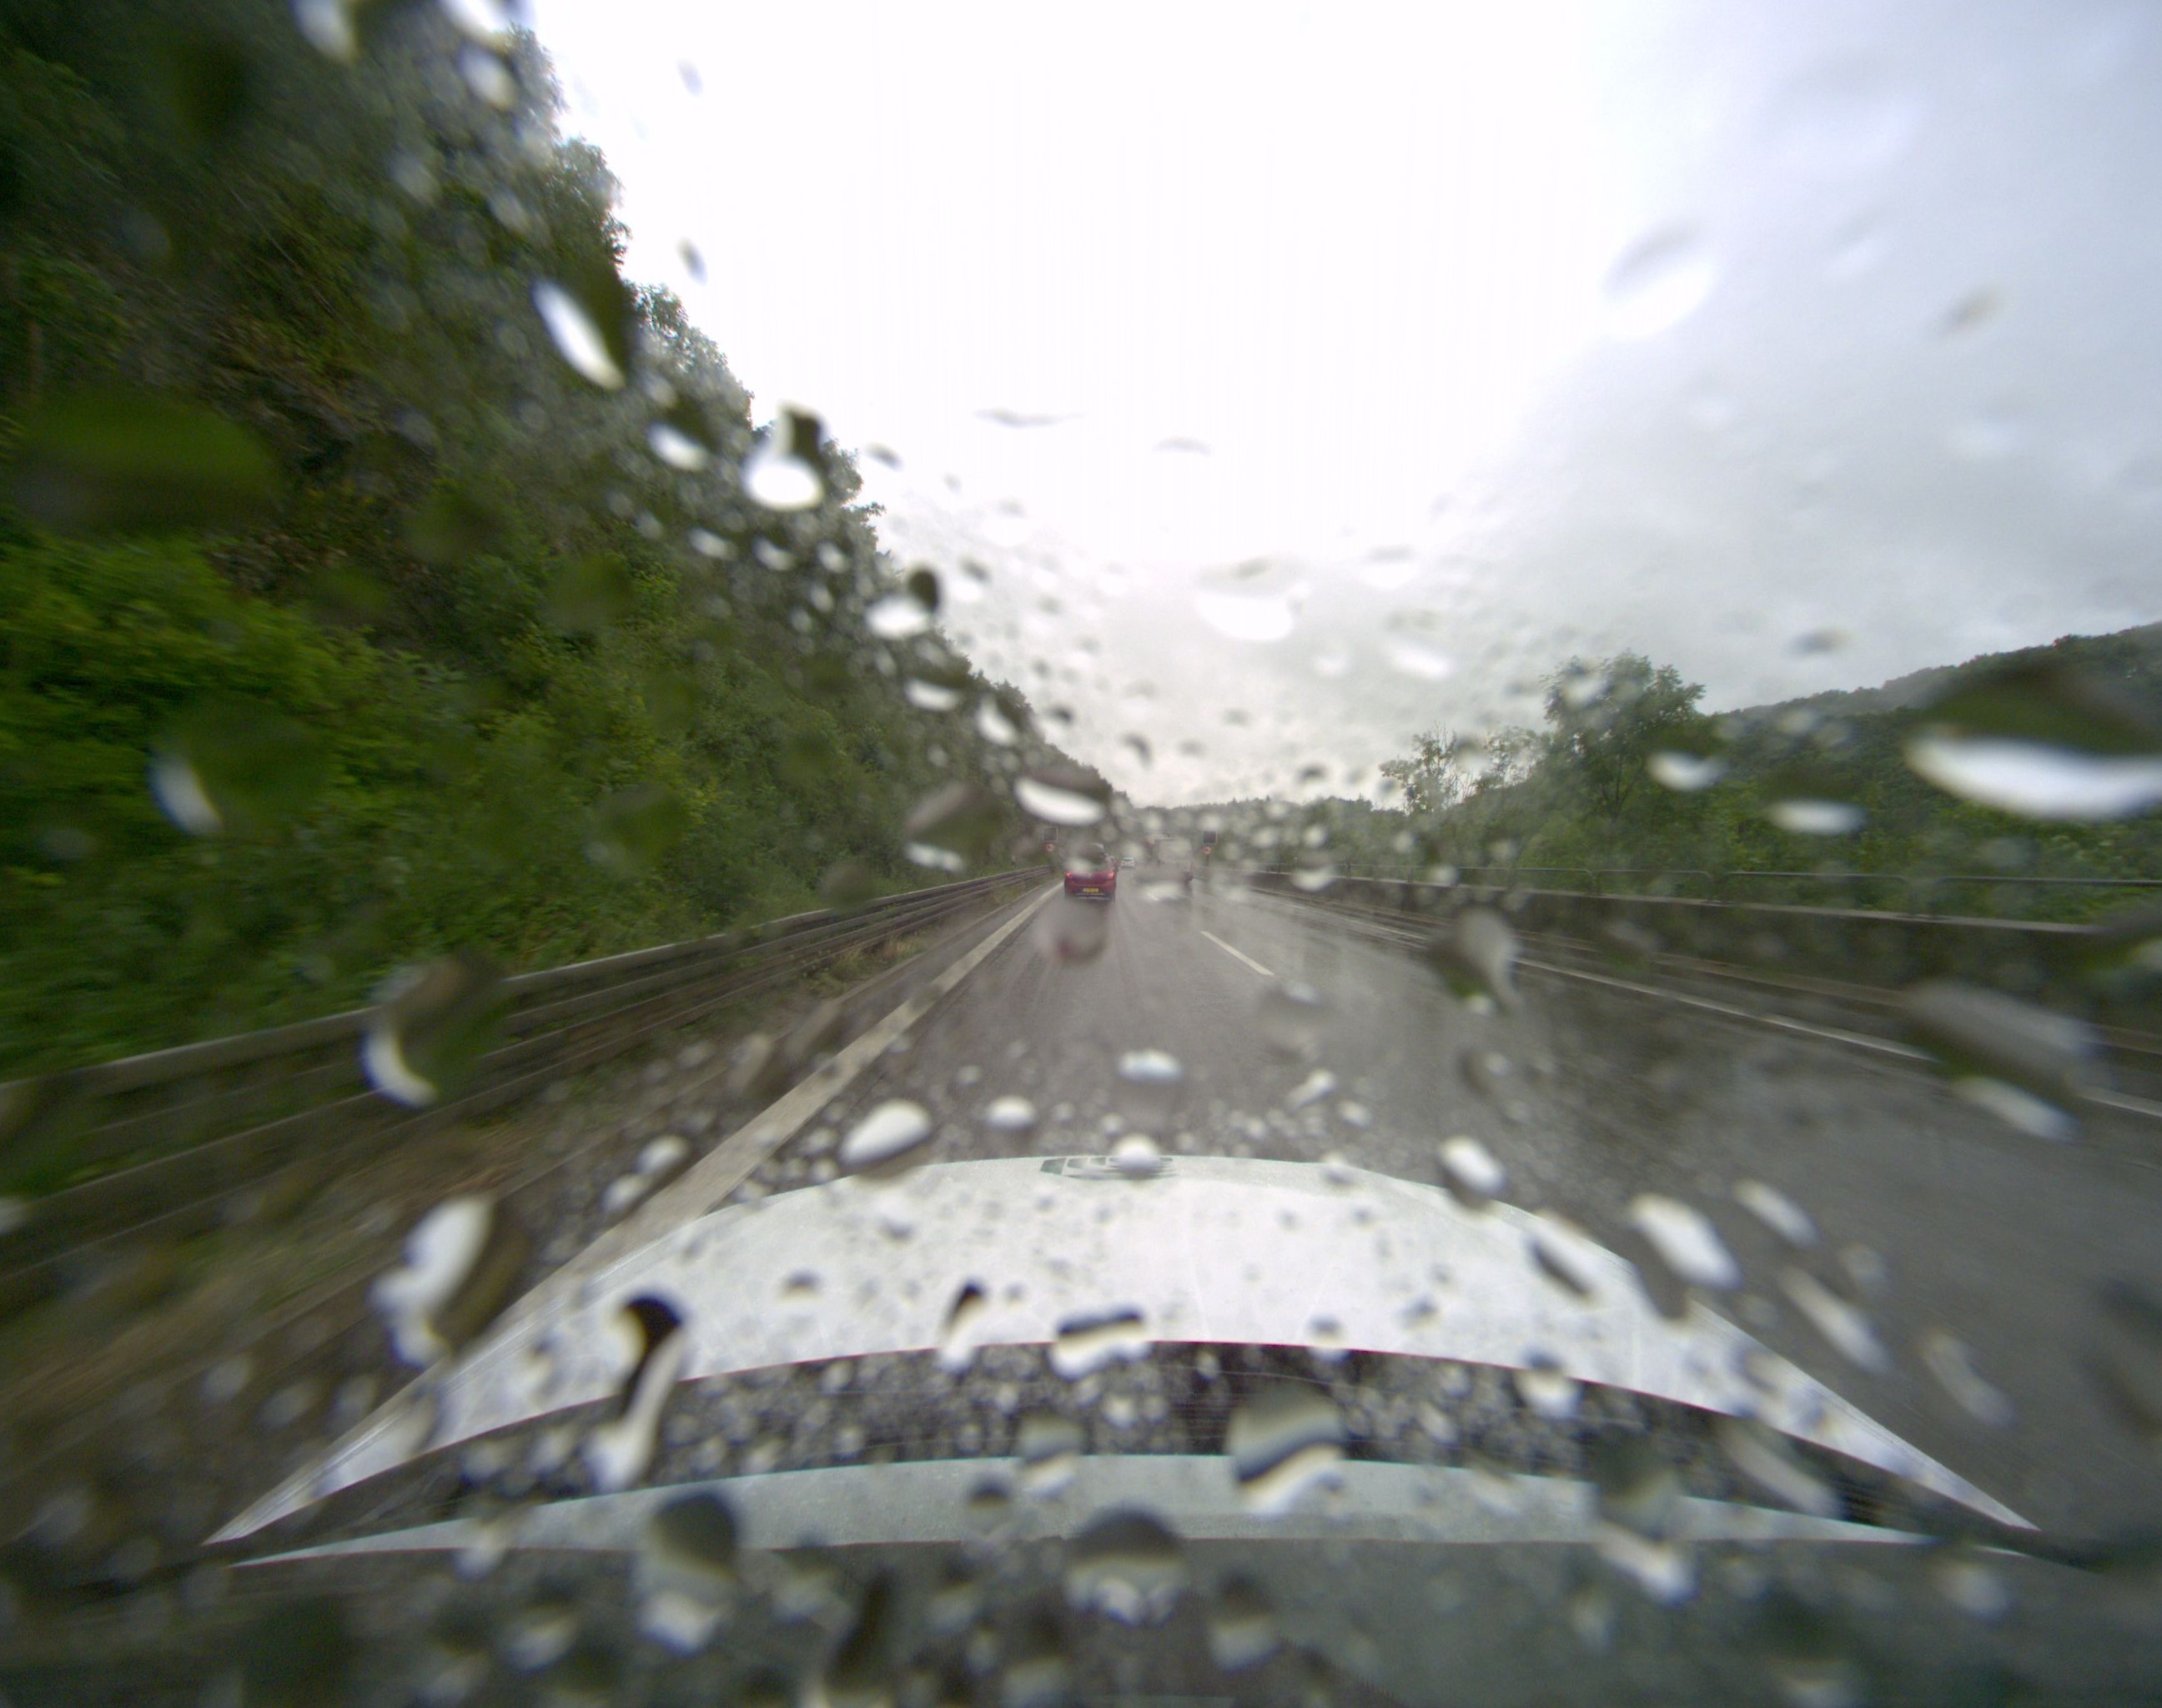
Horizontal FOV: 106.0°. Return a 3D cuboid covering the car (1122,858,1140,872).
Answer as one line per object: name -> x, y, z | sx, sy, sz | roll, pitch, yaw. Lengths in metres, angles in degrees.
car -> 6.251, 1.346, 101.826 | 1.983, 1.639, 4.008 | -3, -1, 7

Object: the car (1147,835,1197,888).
car -> 5.188, 0.436, 47.392 | 2.198, 2.794, 7.384 | 1, 0, 1

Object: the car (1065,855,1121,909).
car -> 0.454, 0.942, 28.326 | 1.752, 1.684, 4.001 | -2, -1, 1

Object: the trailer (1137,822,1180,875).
trailer -> 6.590, -0.358, 68.332 | 3.202, 3.999, 13.547 | 0, 0, 6

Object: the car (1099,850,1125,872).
car -> 2.703, 0.613, 70.577 | 1.864, 1.706, 3.896 | -3, -1, 7

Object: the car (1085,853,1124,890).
car -> 1.242, 0.886, 41.558 | 1.825, 1.715, 3.647 | -2, -1, 2

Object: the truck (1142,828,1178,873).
truck -> 7.386, -0.294, 75.603 | 3.203, 3.978, 5.448 | 0, -1, 6
